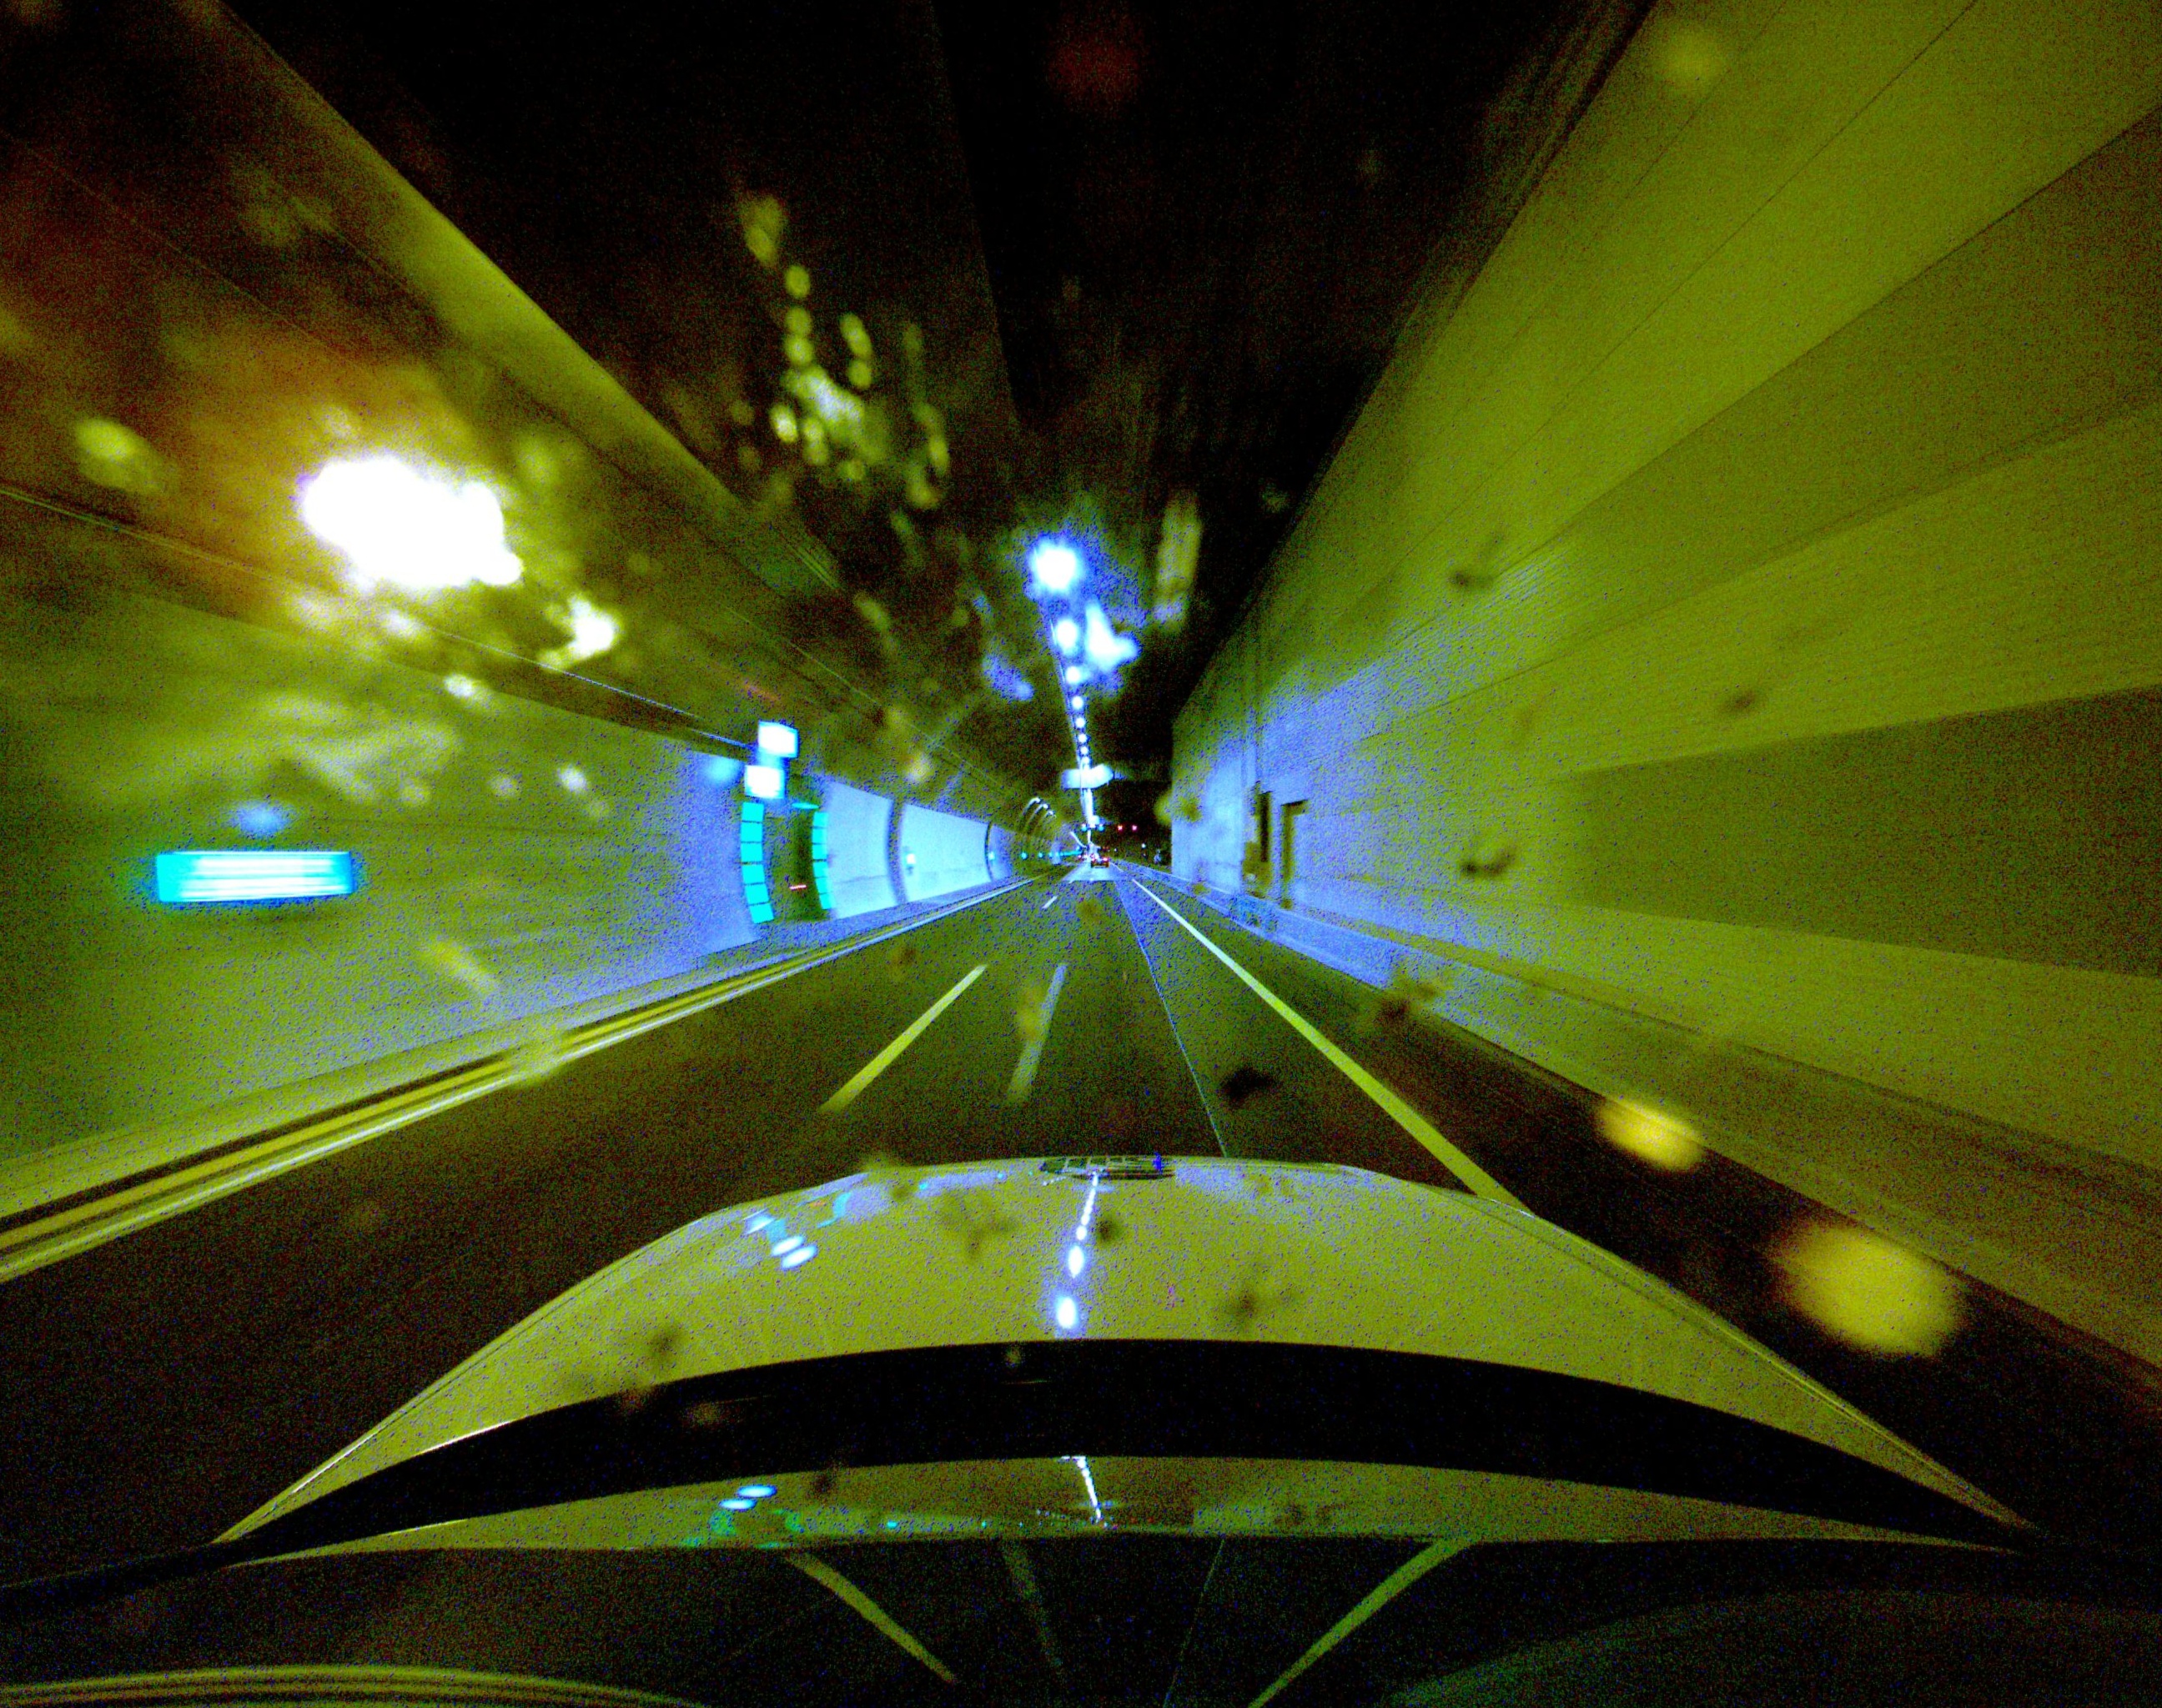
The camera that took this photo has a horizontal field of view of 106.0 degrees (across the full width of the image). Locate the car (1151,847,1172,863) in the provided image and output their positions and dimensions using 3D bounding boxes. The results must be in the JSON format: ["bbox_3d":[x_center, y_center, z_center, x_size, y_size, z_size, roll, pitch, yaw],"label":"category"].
[{"bbox_3d":[9.790,0.090,98.882,1.747,1.845,4.639,-2,0,-4],"label":"car"}]

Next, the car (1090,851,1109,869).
[{"bbox_3d":[1.928,0.624,86.010,1.940,1.794,4.001,-2,0,1],"label":"car"}]

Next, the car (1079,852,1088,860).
[{"bbox_3d":[0.519,0.371,178.903,1.923,1.687,4.001,-2,0,1],"label":"car"}]
